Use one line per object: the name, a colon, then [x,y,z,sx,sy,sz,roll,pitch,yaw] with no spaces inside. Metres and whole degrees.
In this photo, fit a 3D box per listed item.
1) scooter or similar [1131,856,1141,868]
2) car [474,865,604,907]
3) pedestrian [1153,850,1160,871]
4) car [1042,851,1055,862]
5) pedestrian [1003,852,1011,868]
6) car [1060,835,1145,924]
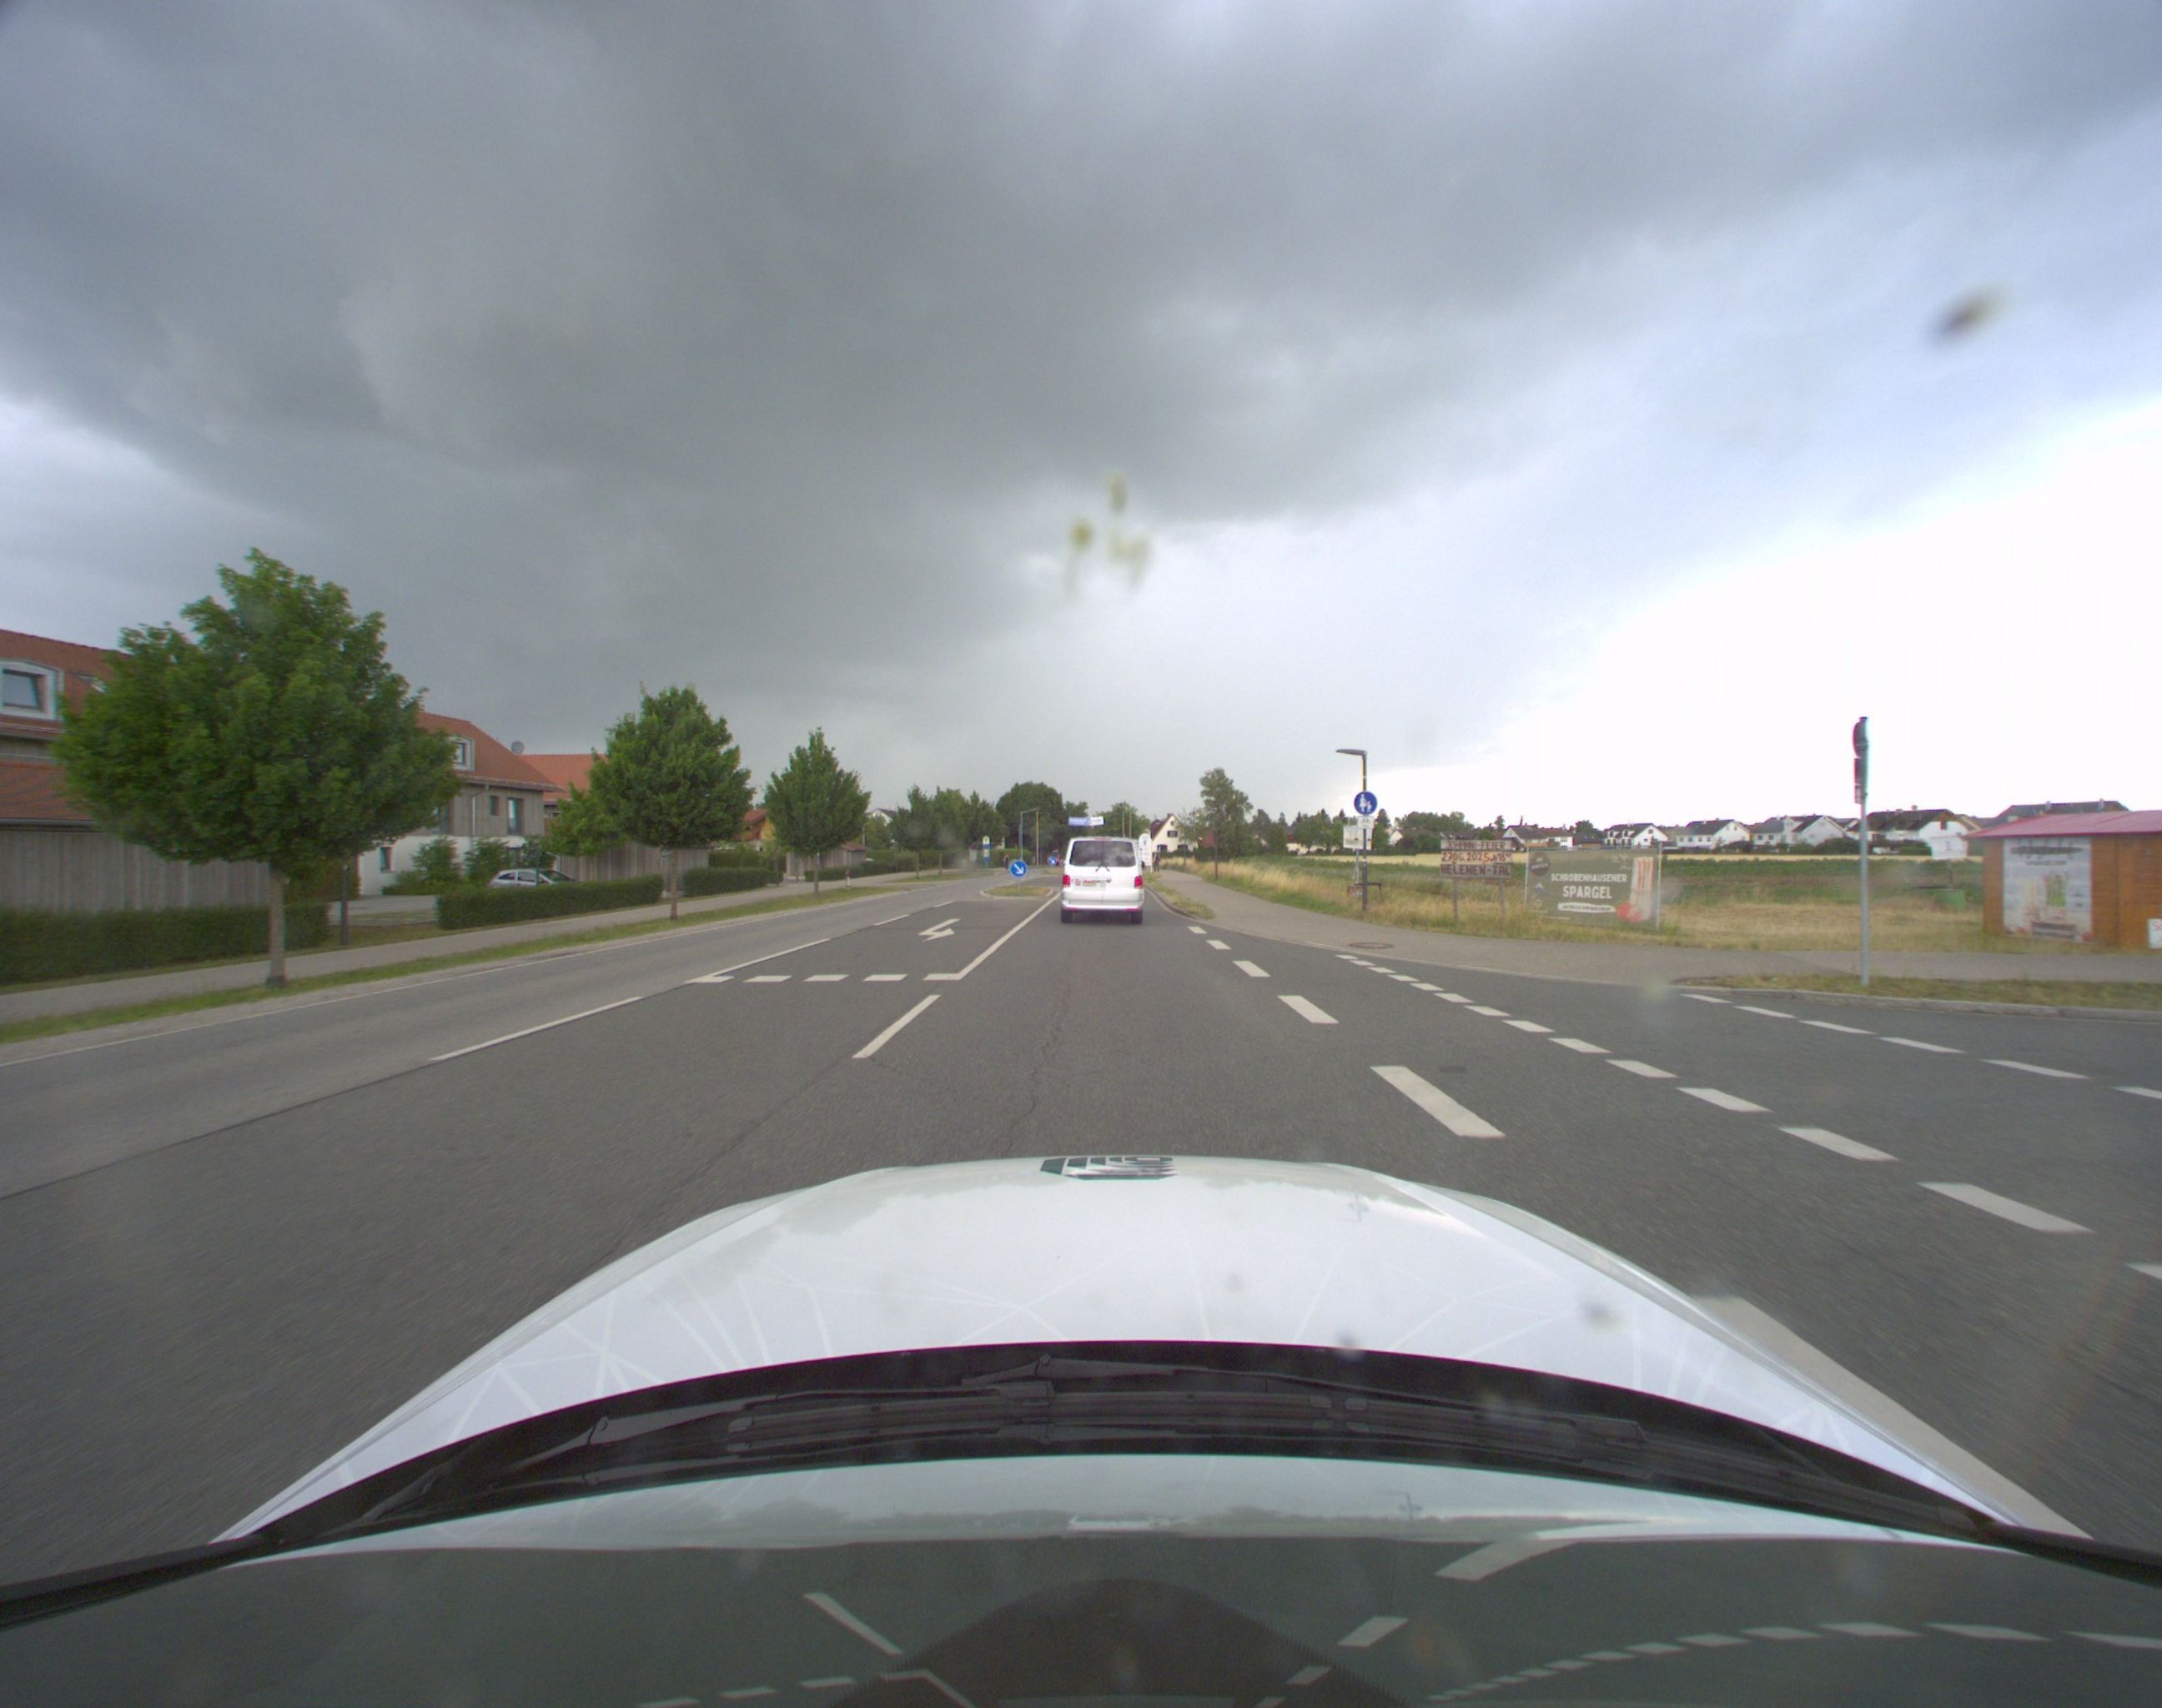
scooter or similar: [5.121,0.748,76.006,0.845,1.103,1.094,-2,0,2]
car: [-22.131,1.291,33.362,3.971,1.556,2.002,1,0,2]
pedestrian: [6.306,0.548,68.128,0.482,1.732,0.644,-2,0,9]
car: [-4.734,0.325,117.853,1.648,1.429,3.603,-2,0,1]
pedestrian: [-7.264,0.559,79.844,0.621,1.525,0.680,-2,0,1]
car: [0.471,0.543,19.564,1.820,1.913,3.999,1,0,0]
